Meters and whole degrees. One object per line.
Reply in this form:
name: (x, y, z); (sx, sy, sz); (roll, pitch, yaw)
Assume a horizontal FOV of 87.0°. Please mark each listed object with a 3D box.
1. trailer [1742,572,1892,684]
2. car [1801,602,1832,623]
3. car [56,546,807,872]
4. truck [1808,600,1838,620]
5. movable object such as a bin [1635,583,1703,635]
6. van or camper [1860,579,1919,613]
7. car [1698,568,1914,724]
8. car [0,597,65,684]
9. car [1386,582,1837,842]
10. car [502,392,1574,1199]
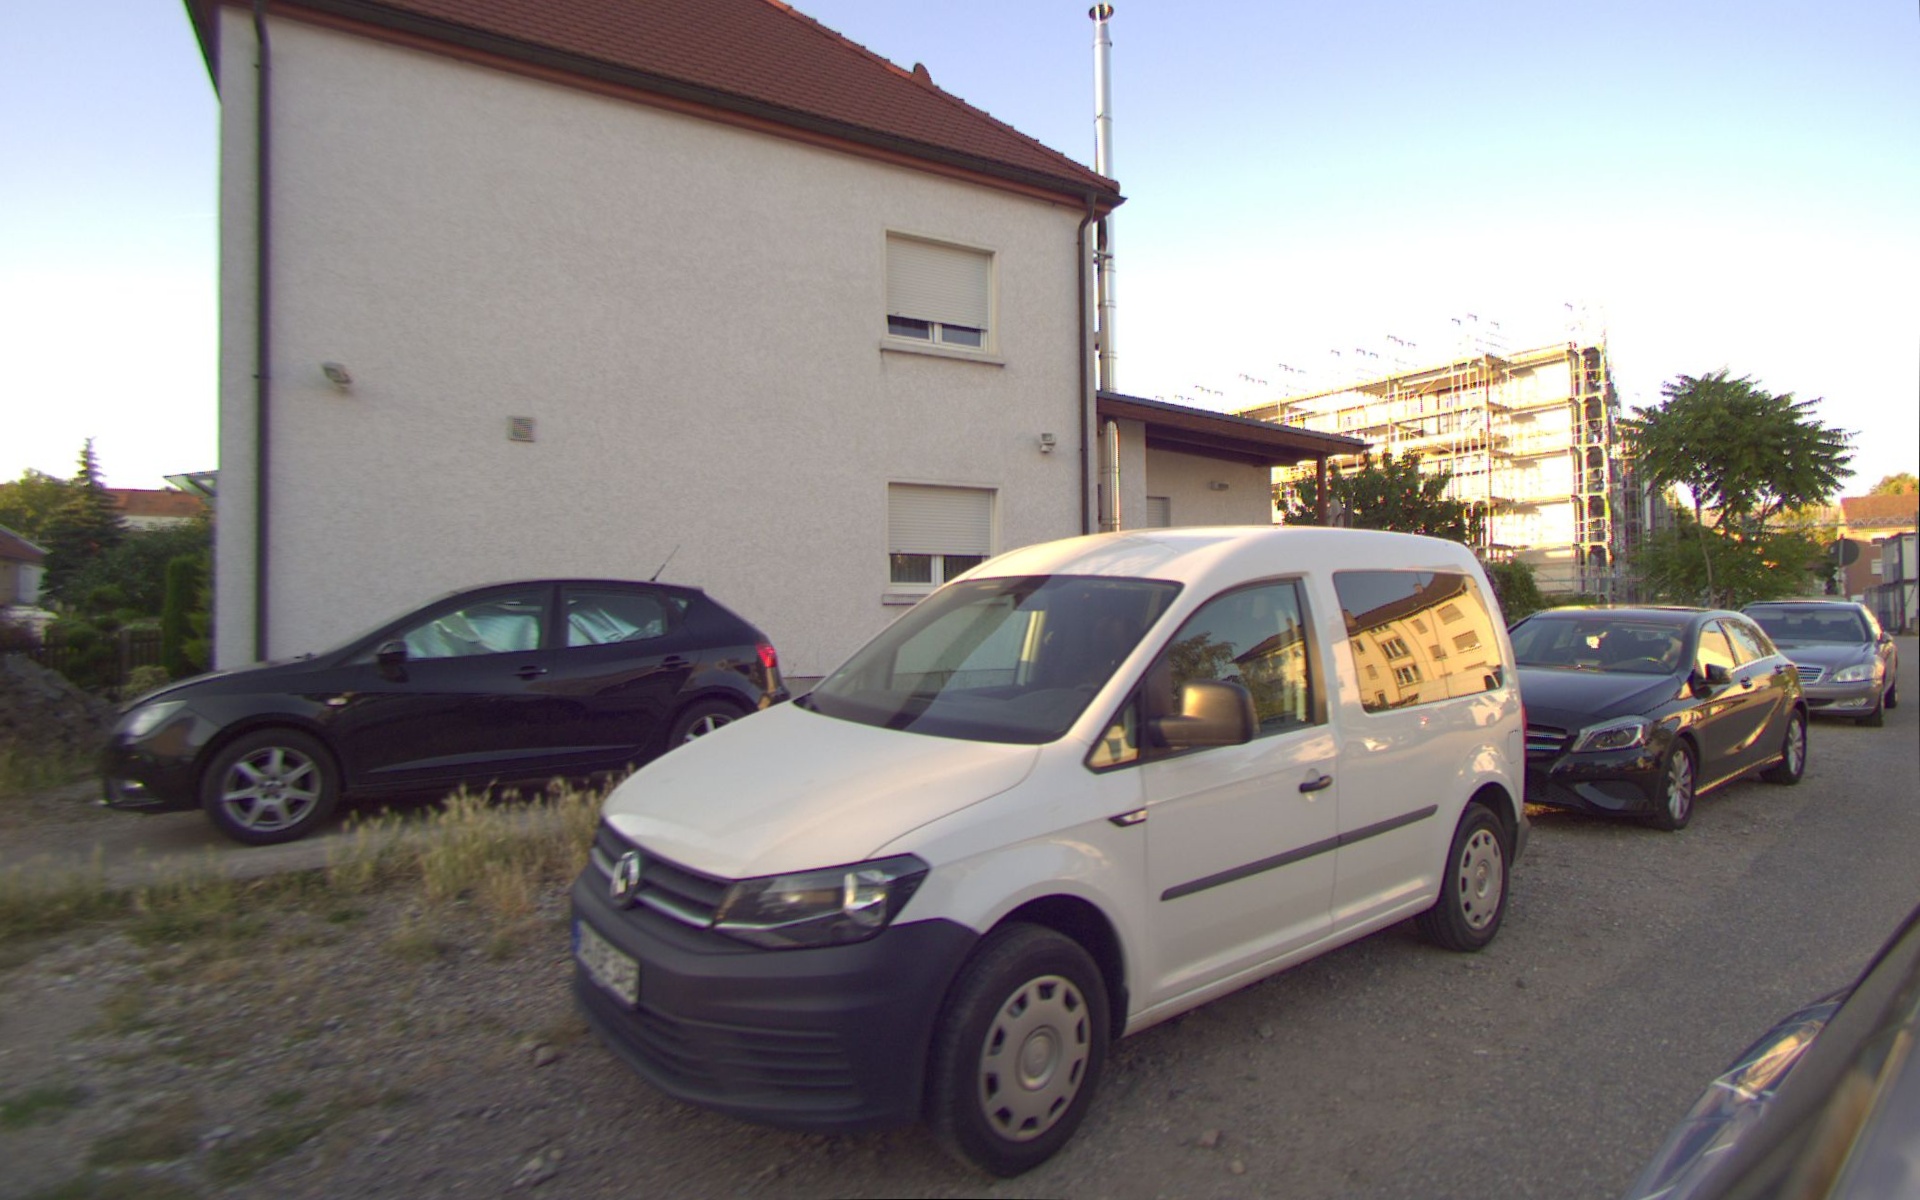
trailer: (15.877, 0.437, 18.656); (1.732, 1.800, 4.857); (1, 0, 45)
car: (68.151, 0.970, 80.584); (1.667, 1.641, 4.225); (-2, -1, 38)
car: (-3.111, 0.477, 6.569); (3.827, 1.538, 1.642); (-2, 1, -31)
truck: (96.819, 1.100, 113.628); (1.827, 2.129, 3.698); (-4, -3, 31)
movable object such as a bin: (33.947, 0.408, 48.324); (2.061, 2.303, 8.248); (-1, -1, 39)
van or camper: (80.481, -0.415, 85.482); (6.443, 2.675, 2.372); (-5, -4, 40)
car: (11.551, 0.506, 13.677); (4.848, 1.746, 1.807); (0, 1, -45)
car: (-26.127, 1.111, 27.553); (1.808, 2.203, 4.470); (-2, 0, -31)
car: (5.205, 0.668, 7.900); (4.013, 1.538, 1.708); (0, -1, -38)
car: (0.668, 0.511, 4.131); (4.328, 1.854, 1.775); (0, -1, -39)
